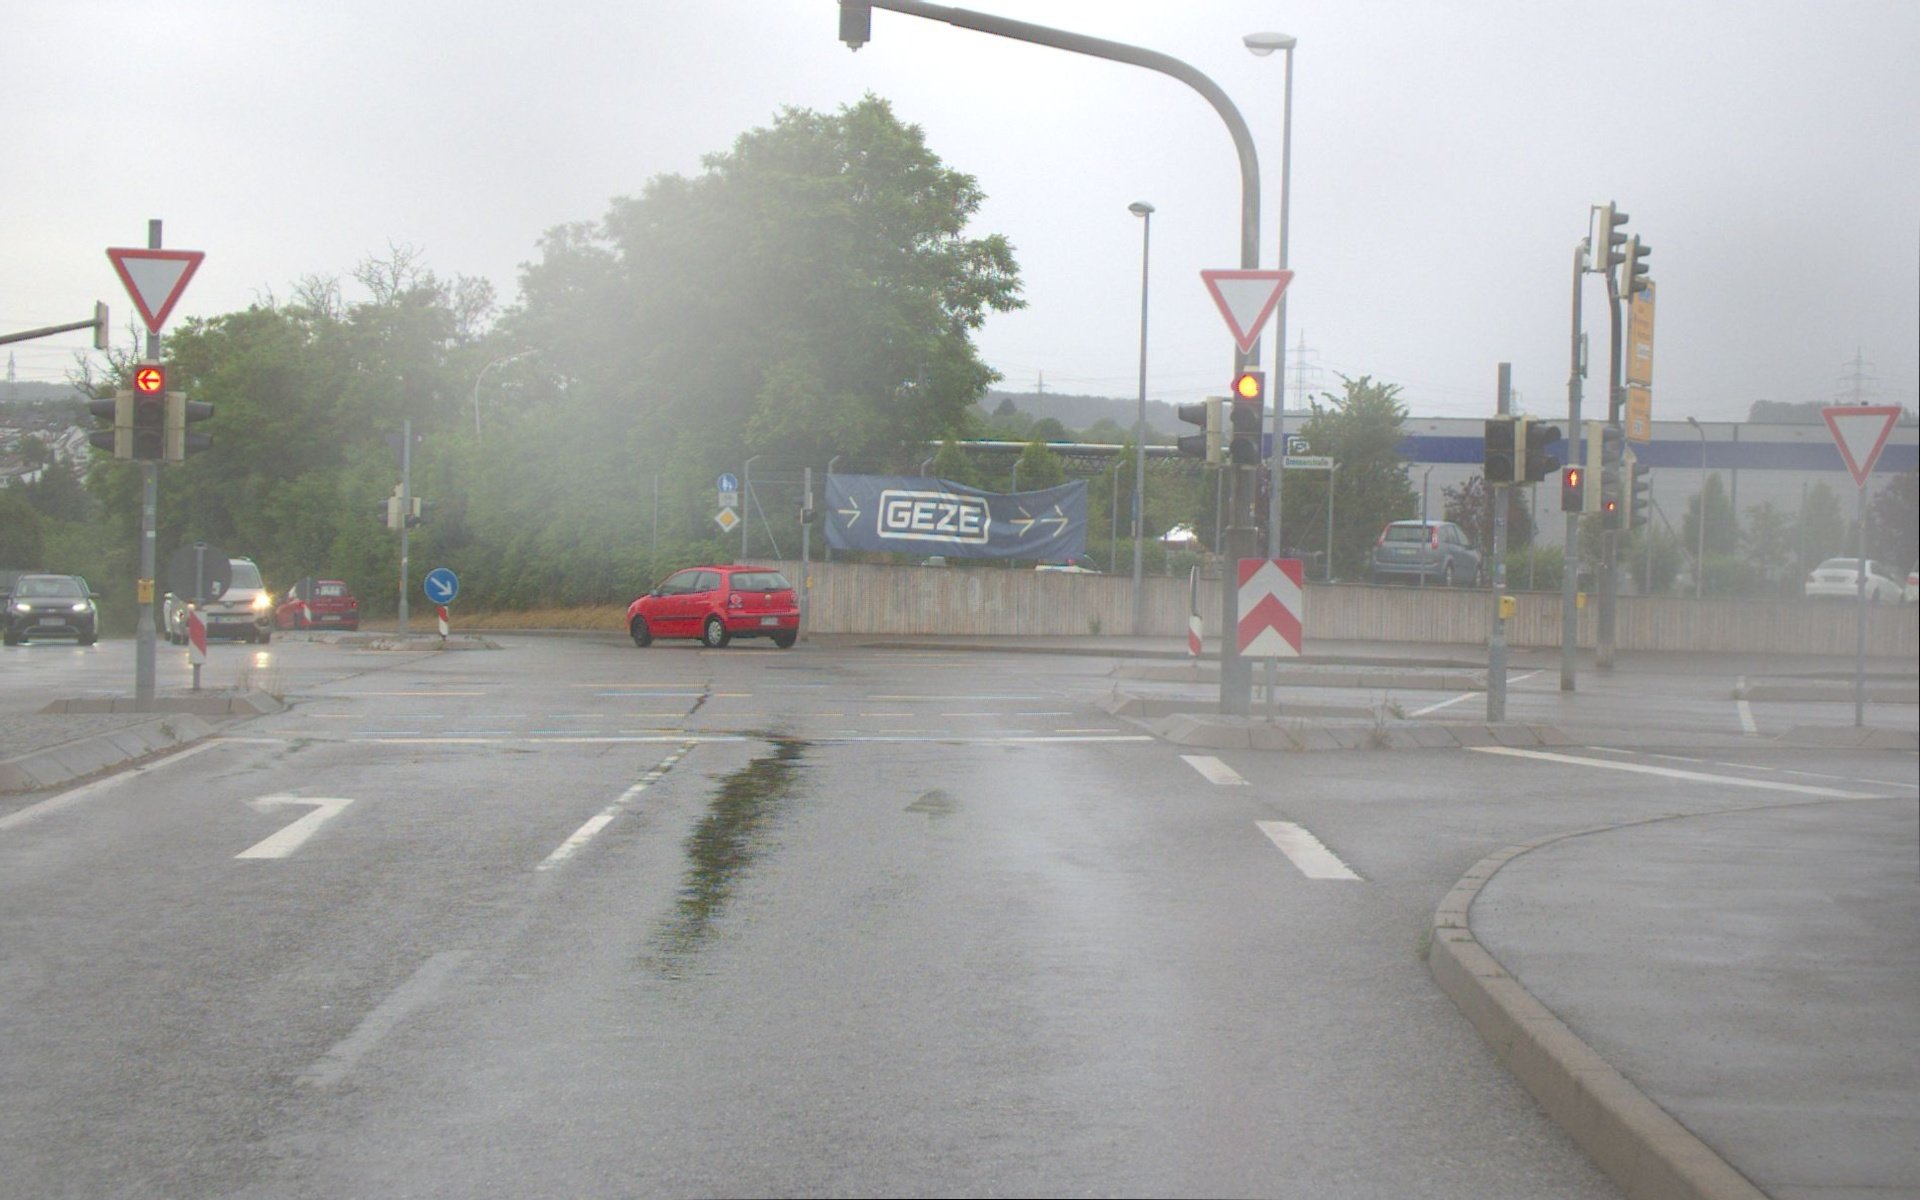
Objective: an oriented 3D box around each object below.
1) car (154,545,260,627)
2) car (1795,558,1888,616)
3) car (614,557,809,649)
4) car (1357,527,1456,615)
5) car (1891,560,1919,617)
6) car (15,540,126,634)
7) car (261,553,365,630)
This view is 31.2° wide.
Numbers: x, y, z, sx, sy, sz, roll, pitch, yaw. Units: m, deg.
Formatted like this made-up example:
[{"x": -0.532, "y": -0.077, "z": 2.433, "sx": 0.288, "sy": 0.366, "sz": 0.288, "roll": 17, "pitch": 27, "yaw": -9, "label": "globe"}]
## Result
[{"x": -15.681, "y": -0.304, "z": 71.469, "sx": 1.993, "sy": 1.612, "sz": 4.001, "roll": 1, "pitch": 1, "yaw": -14, "label": "car"}, {"x": 23.577, "y": -0.359, "z": 91.876, "sx": 1.996, "sy": 1.473, "sz": 3.996, "roll": 1, "pitch": 1, "yaw": 20, "label": "car"}, {"x": -4.507, "y": 0.048, "z": 61.868, "sx": 1.615, "sy": 1.444, "sz": 3.806, "roll": 1, "pitch": 2, "yaw": -38, "label": "car"}, {"x": 10.598, "y": -0.687, "z": 81.396, "sx": 1.994, "sy": 2.007, "sz": 3.998, "roll": 1, "pitch": 1, "yaw": 12, "label": "car"}, {"x": 25.912, "y": -0.300, "z": 91.228, "sx": 1.995, "sy": 1.473, "sz": 3.996, "roll": 1, "pitch": 1, "yaw": 20, "label": "car"}, {"x": -18.688, "y": -0.250, "z": 72.136, "sx": 1.993, "sy": 1.888, "sz": 4.001, "roll": 1, "pitch": -1, "yaw": -18, "label": "car"}, {"x": -17.450, "y": -0.246, "z": 92.601, "sx": 1.993, "sy": 1.901, "sz": 4.001, "roll": 2, "pitch": 1, "yaw": -22, "label": "car"}]
